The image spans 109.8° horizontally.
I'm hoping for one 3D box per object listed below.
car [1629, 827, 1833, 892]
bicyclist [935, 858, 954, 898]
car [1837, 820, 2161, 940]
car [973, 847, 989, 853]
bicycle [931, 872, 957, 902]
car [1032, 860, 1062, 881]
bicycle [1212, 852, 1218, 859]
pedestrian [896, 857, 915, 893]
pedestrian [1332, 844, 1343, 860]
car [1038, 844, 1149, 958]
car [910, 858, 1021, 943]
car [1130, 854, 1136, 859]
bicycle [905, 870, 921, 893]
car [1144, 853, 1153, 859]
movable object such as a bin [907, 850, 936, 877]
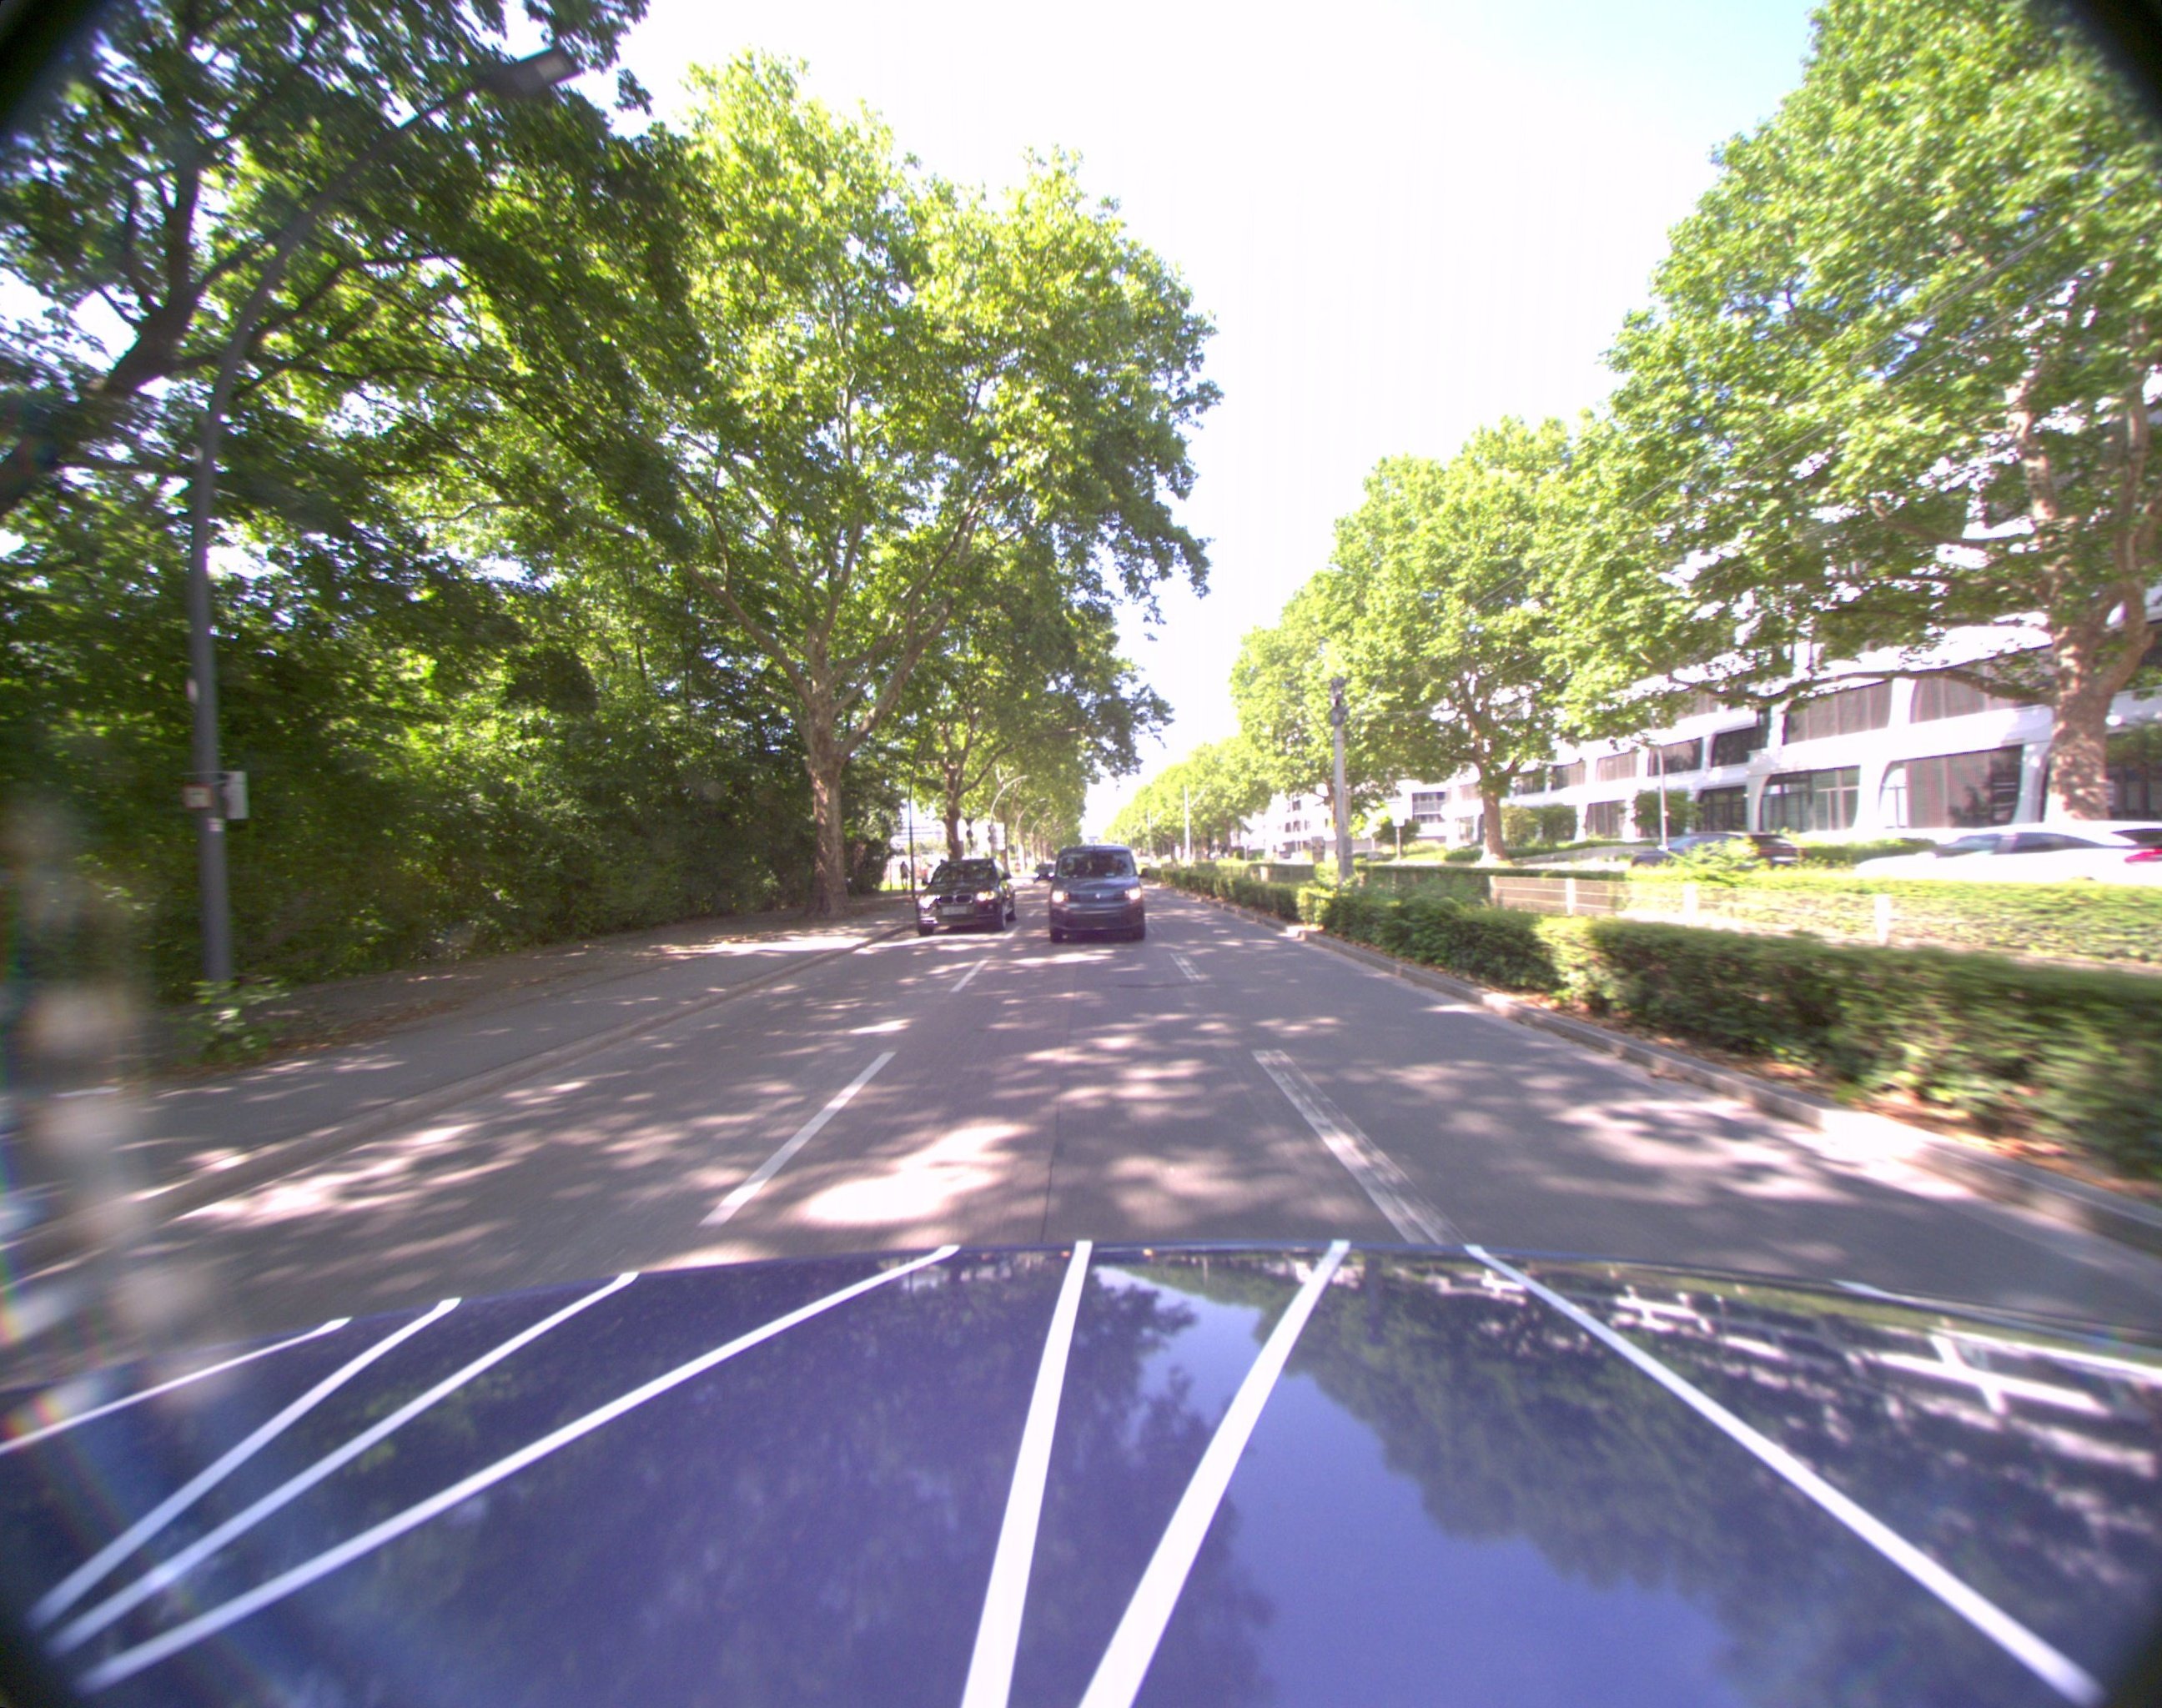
[{"bbox_3d":[18.789,0.156,22.348,1.834,1.615,4.896,-3,0,1],"label":"car"},{"bbox_3d":[-5.474,0.951,30.455,0.621,1.590,0.732,-1,0,-1],"label":"bicyclist"},{"bbox_3d":[15.173,0.322,12.183,1.815,1.554,4.304,-3,0,1],"label":"car"},{"bbox_3d":[-26.181,-0.984,199.826,3.998,1.500,1.808,-3,0,-2],"label":"car"},{"bbox_3d":[-5.472,1.311,30.460,0.653,1.123,1.945,-1,0,0],"label":"bicycle"},{"bbox_3d":[-2.532,1.207,57.126,1.854,1.418,4.152,-3,0,2],"label":"car"},{"bbox_3d":[22.557,0.215,128.028,0.666,1.117,2.031,-3,0,1],"label":"bicycle"},{"bbox_3d":[-9.006,1.077,39.003,0.633,1.775,0.874,-3,0,1],"label":"pedestrian"},{"bbox_3d":[26.329,-0.224,78.025,0.722,1.579,1.015,-3,0,1],"label":"pedestrian"},{"bbox_3d":[0.265,0.773,14.526,1.789,1.839,4.000,-2,0,2],"label":"car"},{"bbox_3d":[-2.673,1.020,18.529,1.924,1.720,4.152,-3,0,1],"label":"car"},{"bbox_3d":[17.618,0.837,257.208,1.820,1.481,3.912,-1,0,-1],"label":"car"},{"bbox_3d":[-8.658,1.408,39.261,0.350,1.075,1.699,-3,0,1],"label":"bicycle"},{"bbox_3d":[17.824,0.515,200.751,1.761,1.560,4.019,-3,0,1],"label":"car"},{"bbox_3d":[-19.570,1.189,93.747,2.376,3.053,5.984,-3,0,-2],"label":"movable object such as a bin"}]
